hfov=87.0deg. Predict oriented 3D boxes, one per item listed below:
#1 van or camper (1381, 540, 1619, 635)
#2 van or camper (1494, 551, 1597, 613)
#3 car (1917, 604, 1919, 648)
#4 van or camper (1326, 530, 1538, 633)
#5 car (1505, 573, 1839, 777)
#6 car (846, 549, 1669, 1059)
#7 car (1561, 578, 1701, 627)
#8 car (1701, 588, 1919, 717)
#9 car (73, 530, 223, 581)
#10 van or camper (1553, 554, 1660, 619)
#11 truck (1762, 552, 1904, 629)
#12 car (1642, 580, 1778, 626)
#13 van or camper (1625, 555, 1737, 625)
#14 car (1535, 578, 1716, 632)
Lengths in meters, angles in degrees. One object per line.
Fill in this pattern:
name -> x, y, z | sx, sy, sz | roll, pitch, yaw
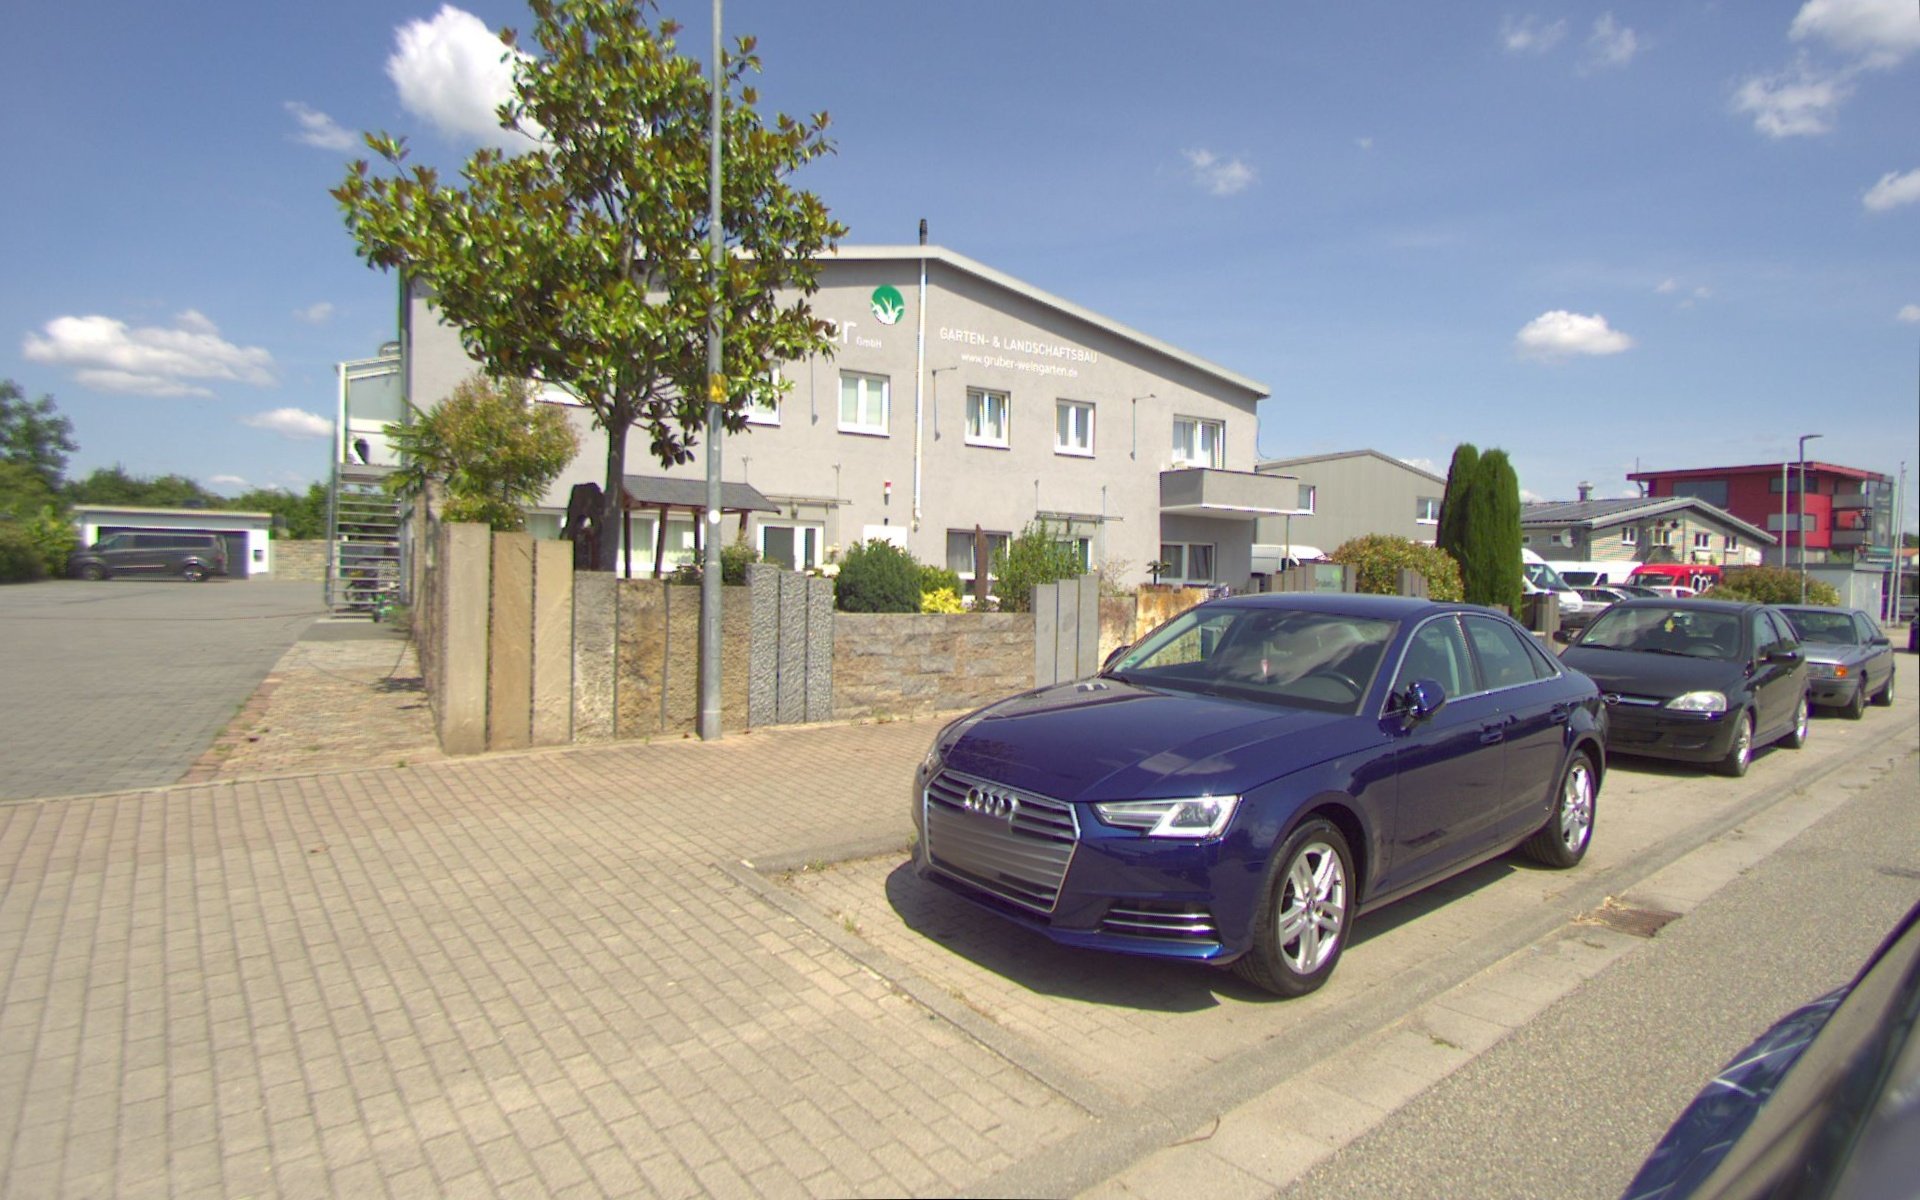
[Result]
van or camper -> 15.478, -0.441, 29.457 | 2.091, 2.467, 5.850 | 1, 2, -29
van or camper -> 27.792, -0.846, 48.033 | 4.800, 2.802, 2.109 | 1, 2, -31
car -> 27.472, 0.460, 27.396 | 3.929, 1.723, 1.805 | 0, 4, -41
van or camper -> 12.788, -0.559, 27.822 | 1.959, 2.565, 5.118 | 1, 2, -26
car -> 6.774, 0.549, 9.489 | 3.807, 1.490, 1.618 | 0, 3, -41
car -> 1.851, 0.576, 5.179 | 4.635, 1.490, 1.766 | 0, 3, -41
car -> 23.345, 0.063, 35.283 | 1.683, 1.505, 3.703 | 0, 2, -39
car -> 11.761, 0.614, 13.900 | 4.121, 1.441, 1.618 | 0, 3, -41
car -> -33.478, -1.828, 41.910 | 4.606, 1.924, 1.790 | 1, 2, -31
van or camper -> 29.135, -0.599, 45.602 | 4.800, 2.802, 2.101 | 1, 2, -31
truck -> 33.155, -0.368, 38.381 | 5.668, 2.721, 2.388 | 1, 2, -31
car -> 27.738, 0.069, 37.515 | 1.683, 1.505, 3.703 | 0, 2, -39
van or camper -> 30.479, -0.431, 42.749 | 4.800, 2.802, 2.043 | 1, 2, -31
car -> 21.556, 0.107, 32.939 | 1.683, 1.505, 4.606 | 0, 2, -39
